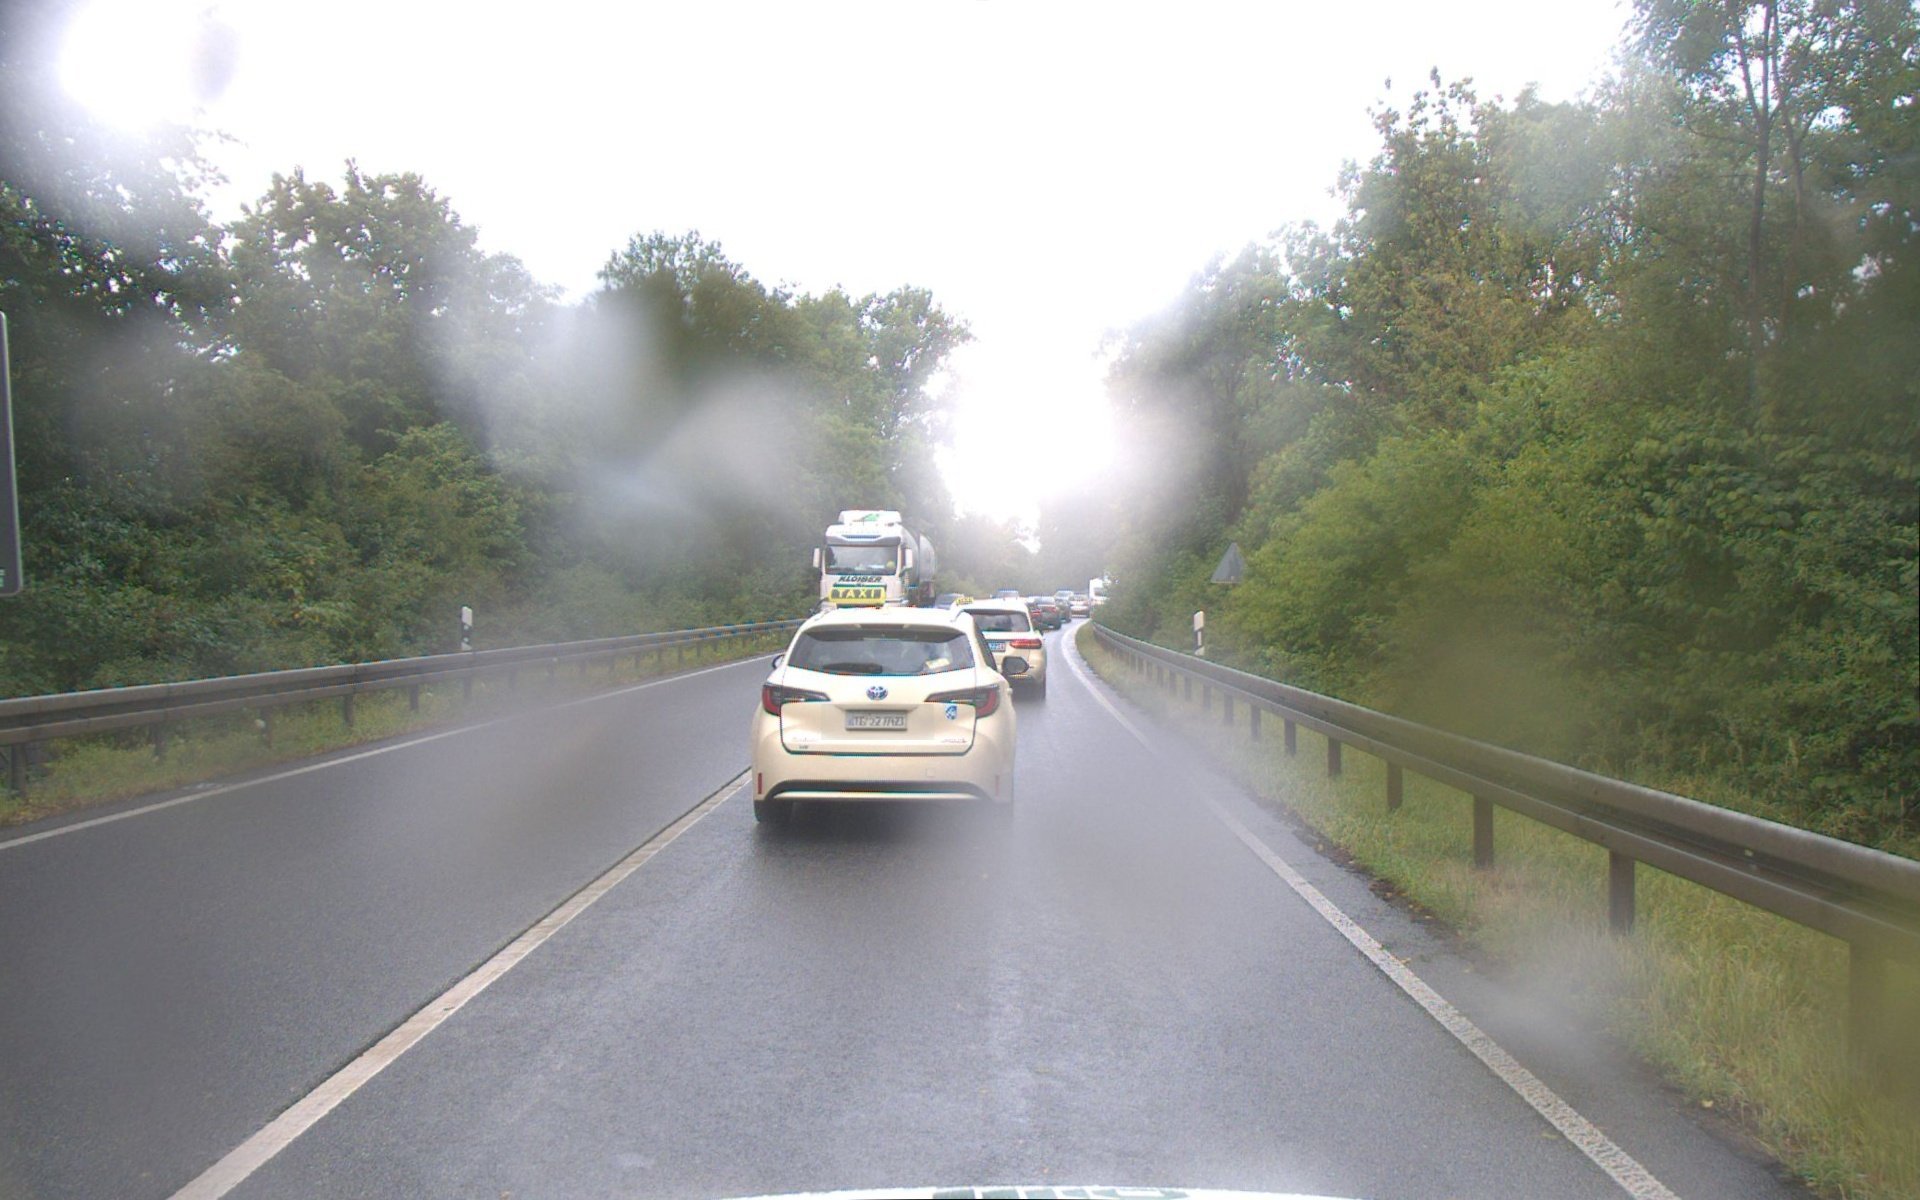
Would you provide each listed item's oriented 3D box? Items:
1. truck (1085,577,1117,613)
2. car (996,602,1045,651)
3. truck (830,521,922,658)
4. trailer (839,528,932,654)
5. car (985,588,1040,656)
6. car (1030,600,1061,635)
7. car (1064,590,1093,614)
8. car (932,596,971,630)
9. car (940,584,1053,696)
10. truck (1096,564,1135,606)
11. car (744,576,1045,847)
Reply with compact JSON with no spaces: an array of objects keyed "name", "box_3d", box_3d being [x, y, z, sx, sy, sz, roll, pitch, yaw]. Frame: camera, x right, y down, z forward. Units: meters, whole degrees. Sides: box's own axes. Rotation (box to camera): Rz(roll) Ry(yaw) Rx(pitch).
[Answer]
[{"name":"truck","box_3d":[11.537,-0.371,135.639,2.496,2.760,7.538,1,-1,4]},{"name":"car","box_3d":[2.028,0.874,55.369,1.577,1.574,3.815,0,0,2]},{"name":"truck","box_3d":[-2.470,-0.289,50.125,2.484,3.892,5.244,1,-1,0]},{"name":"trailer","box_3d":[-2.384,-0.242,55.503,2.483,3.892,7.793,1,-1,2]},{"name":"car","box_3d":[1.283,0.537,40.792,1.274,1.574,3.260,1,-1,1]},{"name":"car","box_3d":[3.961,0.807,76.443,1.142,1.574,2.606,1,-1,9]},{"name":"car","box_3d":[8.097,0.167,112.944,1.732,1.574,3.817,1,-1,8]},{"name":"car","box_3d":[-0.388,0.612,78.763,1.672,1.542,3.913,1,-1,2]},{"name":"car","box_3d":[0.618,0.607,26.201,1.633,1.608,3.893,1,-1,3]},{"name":"truck","box_3d":[14.692,-1.393,156.203,3.041,3.745,7.006,1,-1,10]},{"name":"car","box_3d":[-0.408,0.693,12.113,1.796,1.608,4.156,1,-1,-1]}]
